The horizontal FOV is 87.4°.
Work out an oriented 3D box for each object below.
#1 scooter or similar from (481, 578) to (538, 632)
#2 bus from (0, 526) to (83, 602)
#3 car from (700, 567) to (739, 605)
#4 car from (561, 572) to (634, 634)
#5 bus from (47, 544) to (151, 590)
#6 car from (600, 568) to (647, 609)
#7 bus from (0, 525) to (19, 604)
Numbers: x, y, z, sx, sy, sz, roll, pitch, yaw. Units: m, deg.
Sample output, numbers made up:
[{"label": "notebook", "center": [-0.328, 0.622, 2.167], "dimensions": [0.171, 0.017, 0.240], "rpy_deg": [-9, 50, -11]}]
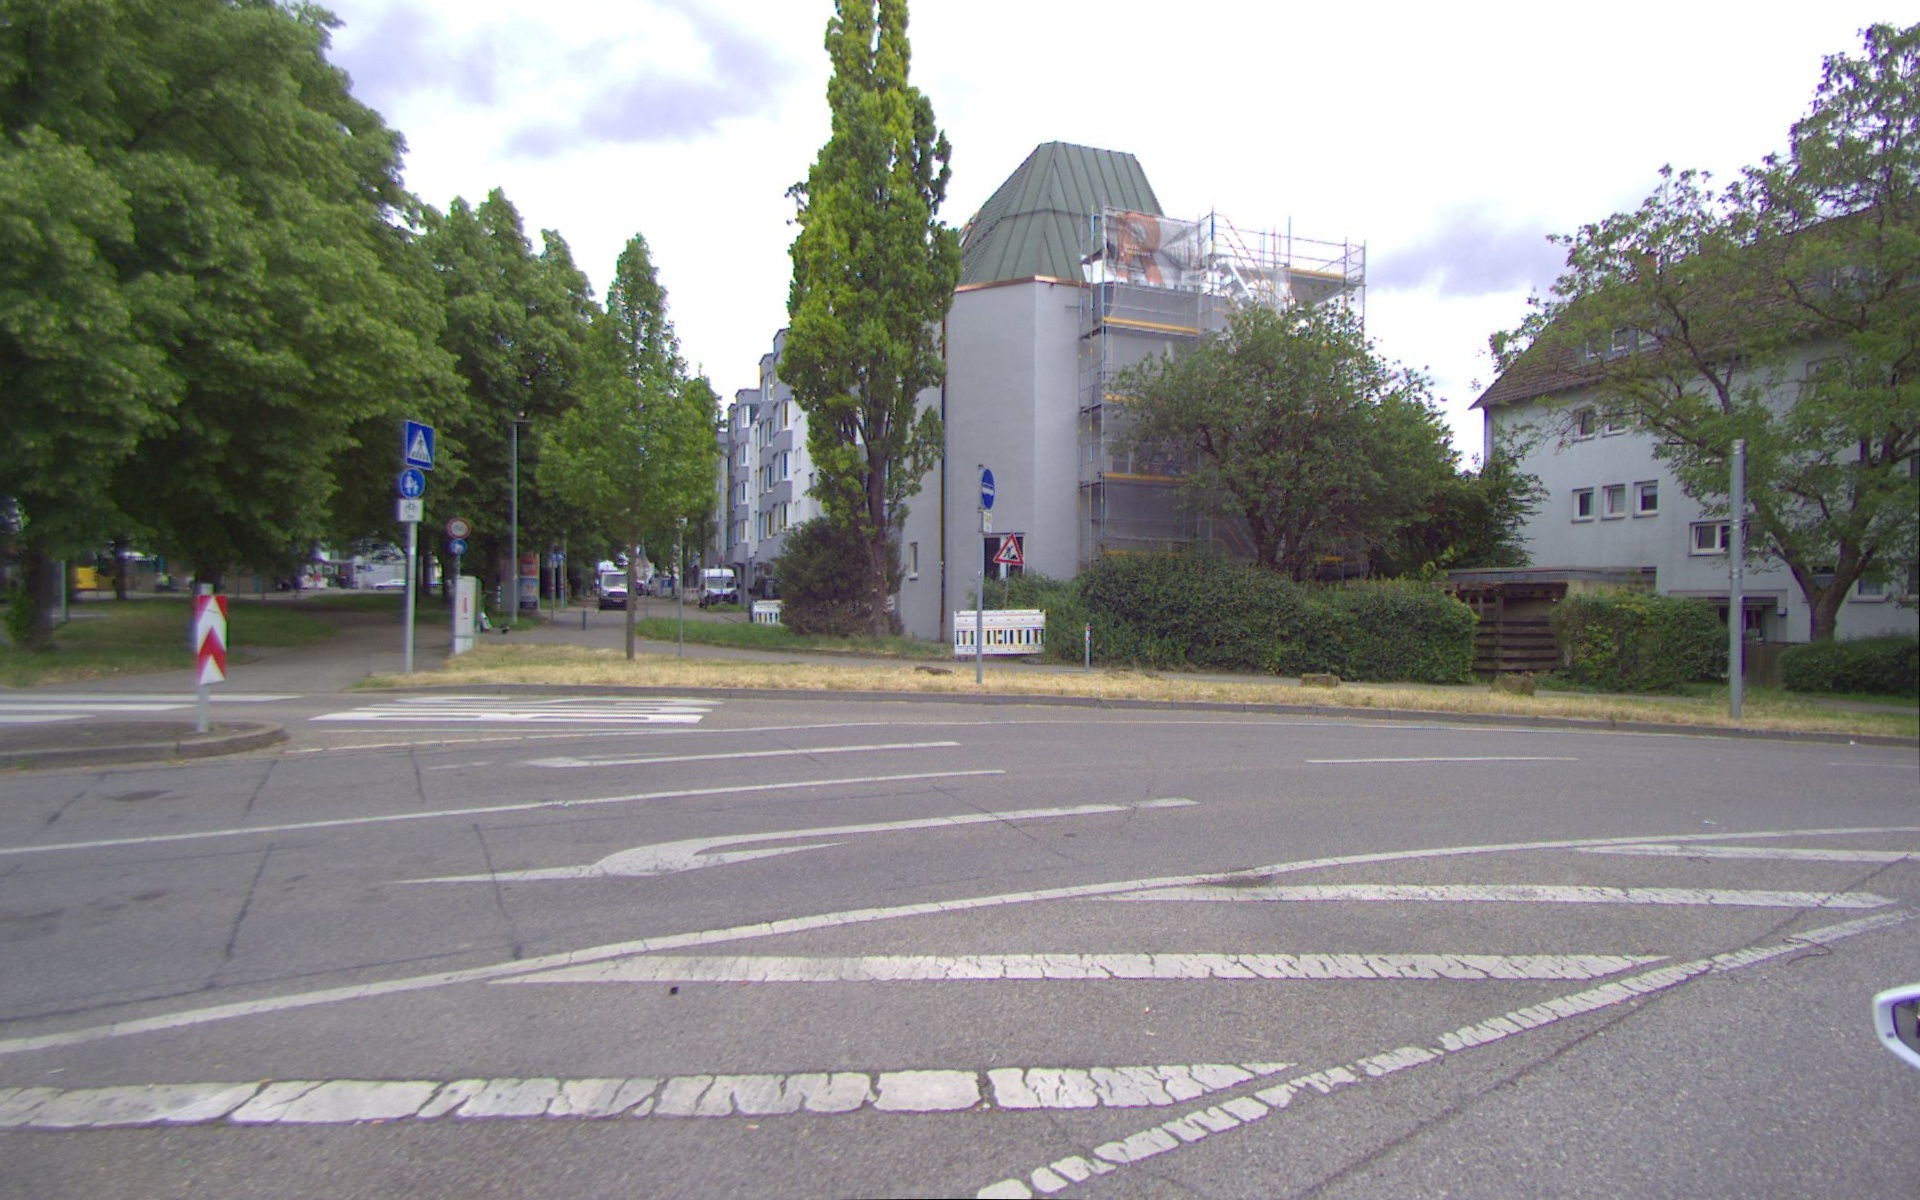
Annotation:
[{"label": "scooter or similar", "center": [-12.576, 0.125, 28.033], "dimensions": [1.562, 1.465, 0.555], "rpy_deg": [2, 3, 25]}, {"label": "bus", "center": [-42.081, -1.605, 44.392], "dimensions": [3.017, 3.050, 9.618], "rpy_deg": [-1, 2, -30]}, {"label": "car", "center": [-15.286, -0.924, 63.614], "dimensions": [2.279, 2.285, 5.474], "rpy_deg": [0, 2, -15]}, {"label": "car", "center": [-10.873, 0.069, 30.347], "dimensions": [1.620, 1.692, 3.939], "rpy_deg": [2, 0, -14]}, {"label": "bus", "center": [-61.369, -2.345, 71.909], "dimensions": [3.254, 3.050, 10.157], "rpy_deg": [-1, 2, -27]}, {"label": "car", "center": [-19.236, -0.707, 57.628], "dimensions": [2.184, 2.145, 5.289], "rpy_deg": [0, 2, -15]}, {"label": "bus", "center": [-37.666, -1.300, 36.566], "dimensions": [3.017, 3.050, 8.362], "rpy_deg": [-1, 2, -30]}]
